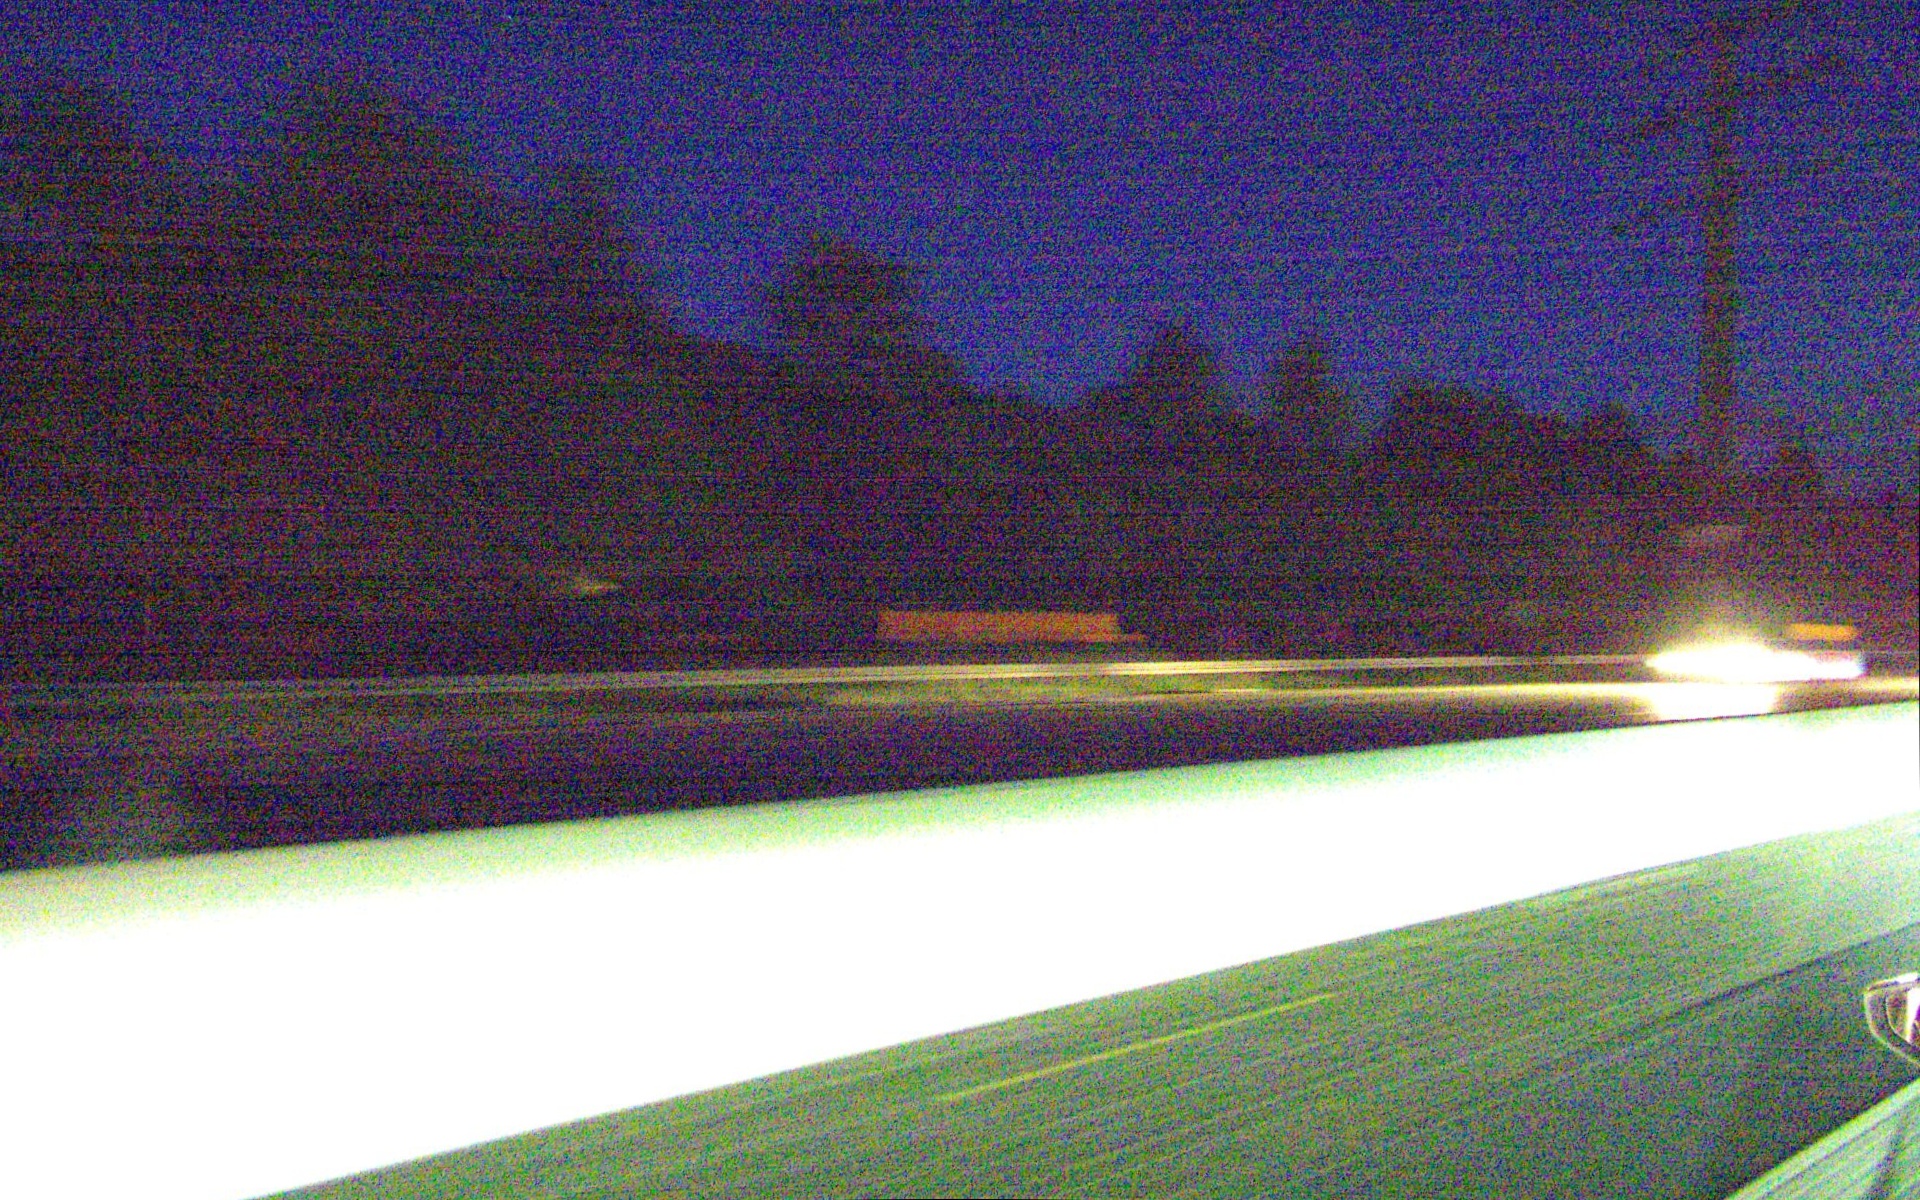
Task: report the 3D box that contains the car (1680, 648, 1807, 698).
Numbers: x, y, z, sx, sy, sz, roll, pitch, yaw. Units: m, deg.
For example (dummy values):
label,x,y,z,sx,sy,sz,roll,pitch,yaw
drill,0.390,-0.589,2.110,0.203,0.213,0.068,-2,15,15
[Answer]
label,x,y,z,sx,sy,sz,roll,pitch,yaw
car,25.065,2.288,32.108,4.531,1.498,1.741,2,-3,-32
